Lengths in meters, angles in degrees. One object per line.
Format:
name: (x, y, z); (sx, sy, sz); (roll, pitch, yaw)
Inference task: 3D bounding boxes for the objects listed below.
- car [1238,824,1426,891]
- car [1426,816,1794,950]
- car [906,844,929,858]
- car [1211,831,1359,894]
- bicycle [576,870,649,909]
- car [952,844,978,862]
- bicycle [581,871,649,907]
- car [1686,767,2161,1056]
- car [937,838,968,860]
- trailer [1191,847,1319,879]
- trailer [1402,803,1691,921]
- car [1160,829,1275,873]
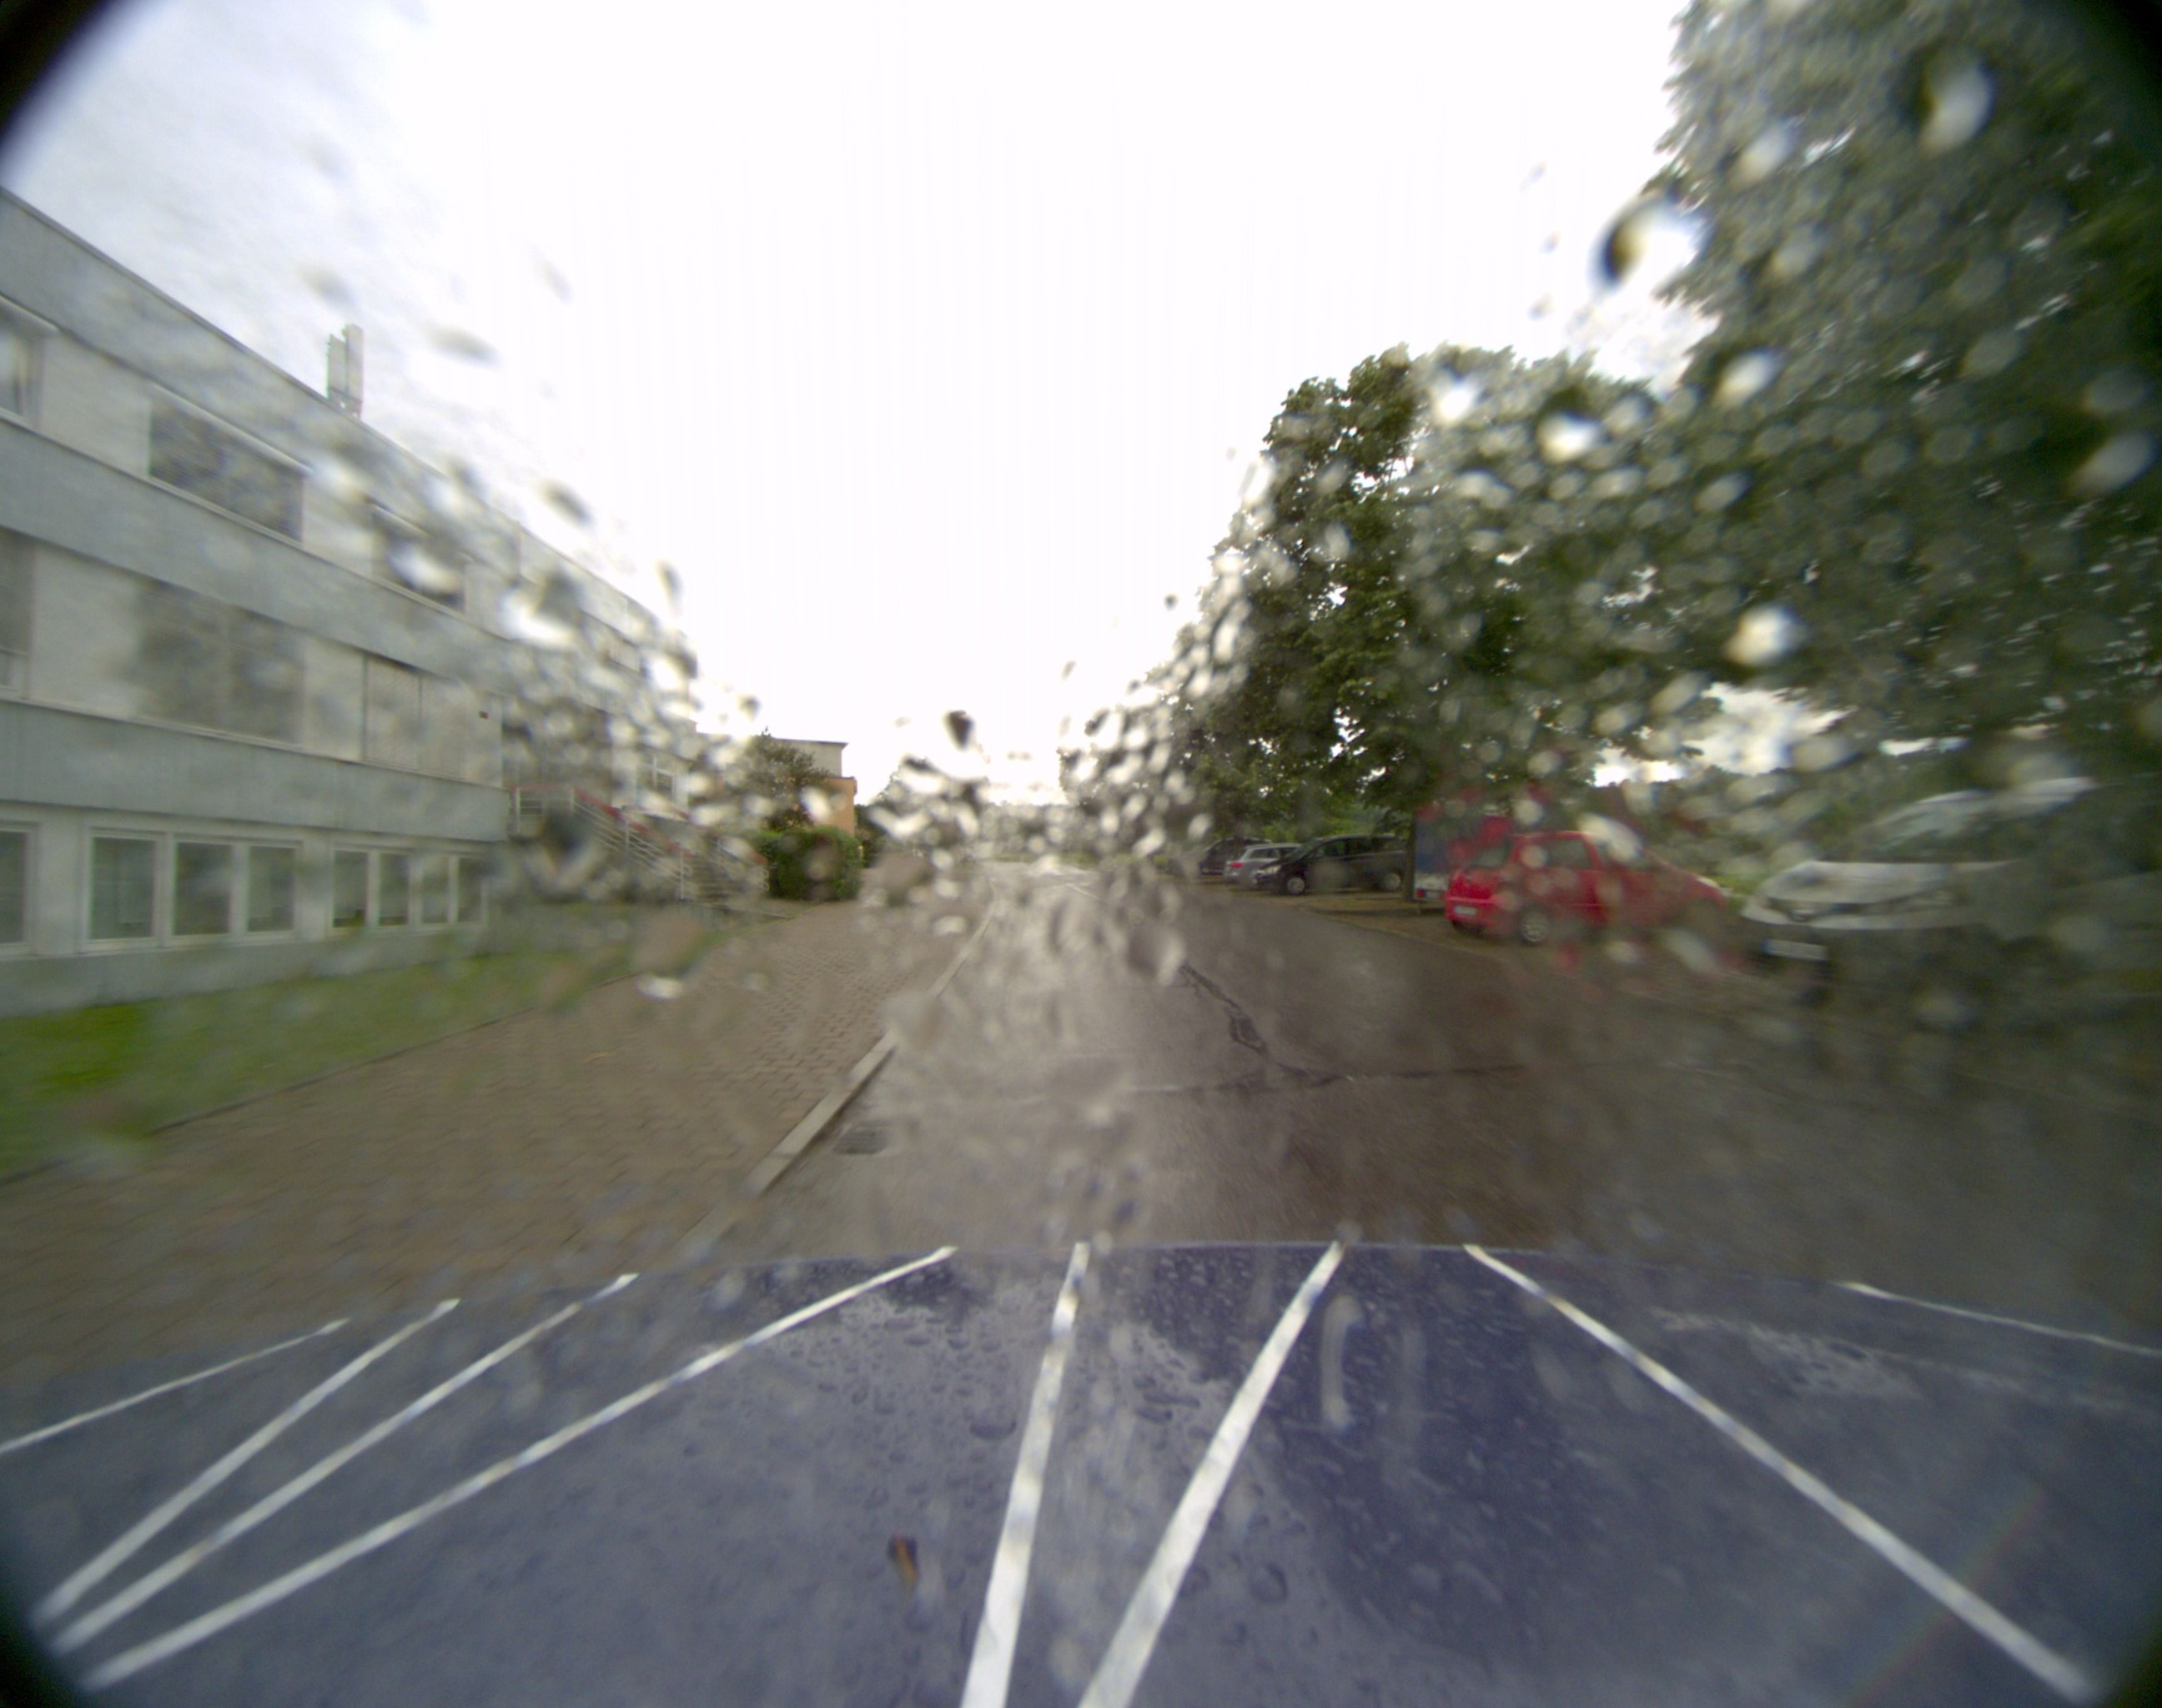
car: (6.977, 0.073, 21.397); (4.630, 1.581, 1.805); (-3, 2, -3)
car: (7.442, 0.350, 10.936); (4.208, 1.712, 1.754); (-1, 2, -6)
car: (-21.286, -0.440, 99.028); (1.828, 1.775, 3.809); (-1, 2, -29)
car: (6.368, 0.232, 24.050); (4.084, 1.712, 2.025); (-3, 2, -1)
bicycle: (-11.546, 0.867, 18.763); (1.473, 0.897, 0.285); (-1, 2, -24)
car: (-12.243, -0.143, 80.184); (1.819, 1.717, 4.643); (-1, 2, -20)
bicycle: (-11.659, 0.876, 19.041); (1.423, 0.825, 0.285); (-1, 2, -24)
car: (7.630, 0.355, 5.883); (4.310, 1.895, 1.862); (0, 2, 3)
car: (-14.572, -0.559, 85.721); (2.057, 2.318, 5.395); (-1, 1, -25)
trailer: (6.037, 0.304, 26.692); (3.953, 0.955, 1.999); (-2, 1, -5)
trailer: (8.320, 0.107, 13.835); (4.224, 1.973, 1.773); (-1, 2, -3)
car: (5.690, -0.153, 32.050); (4.381, 1.712, 2.043); (-1, 2, -7)
